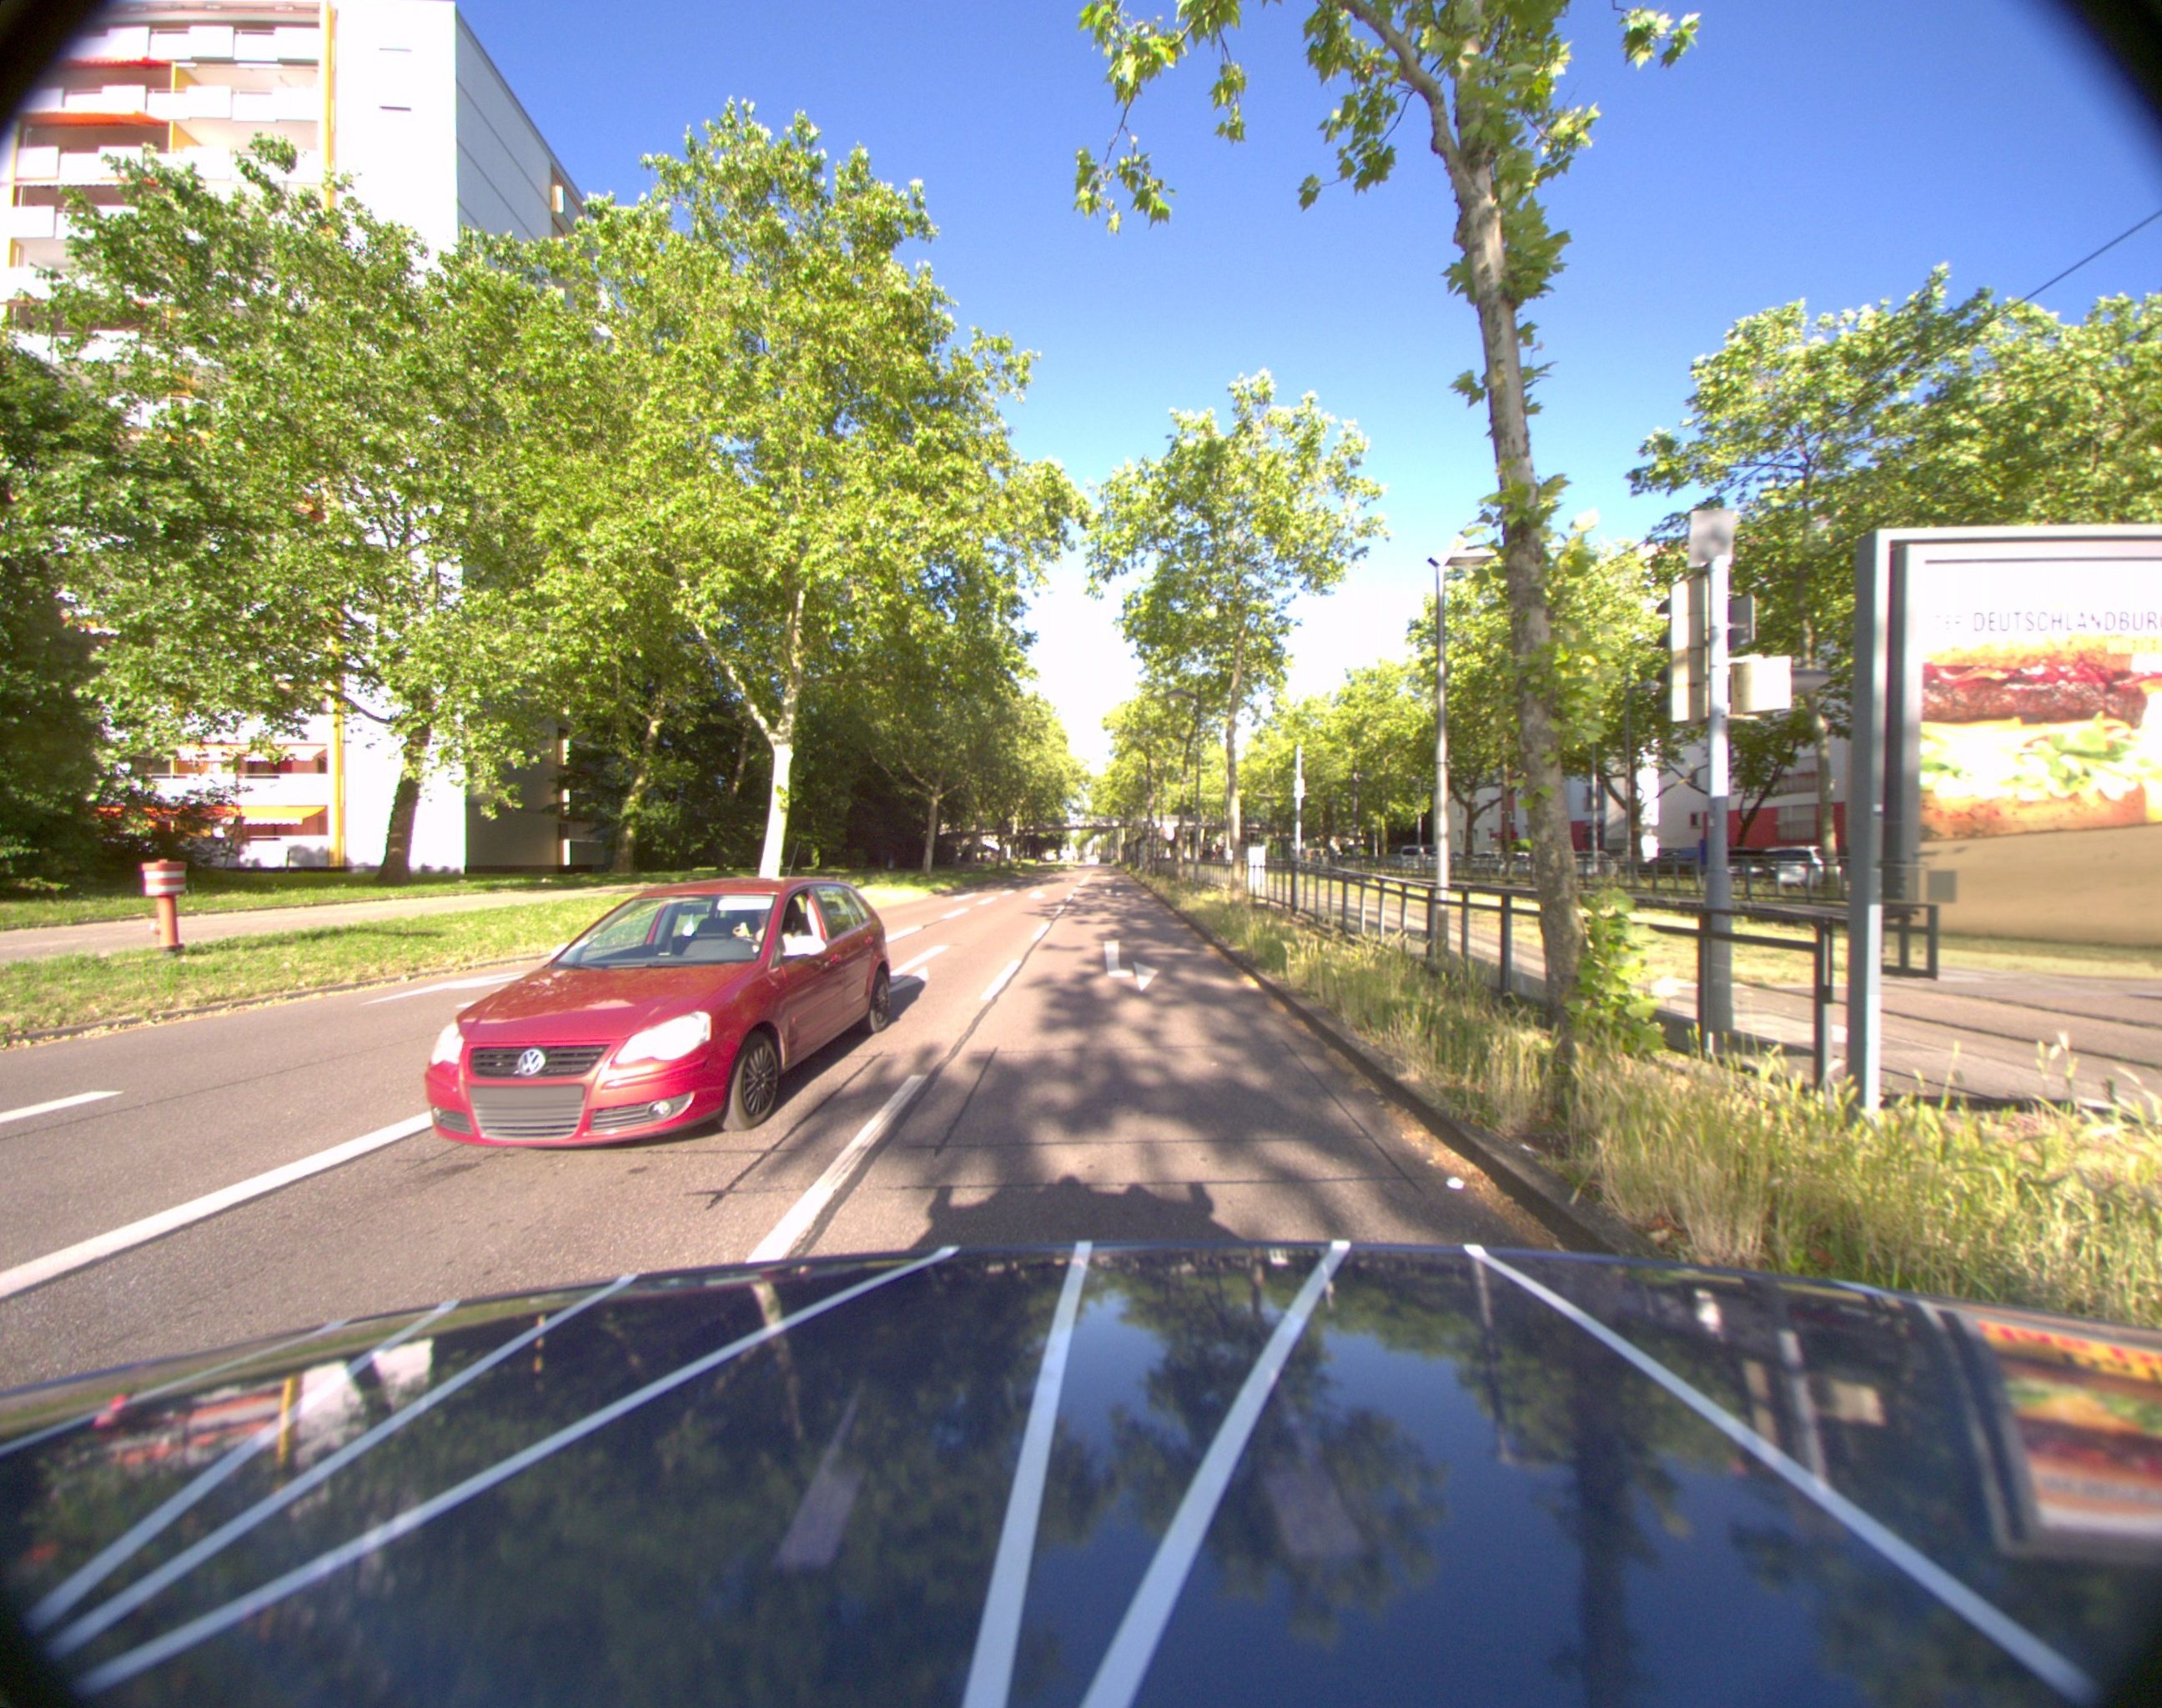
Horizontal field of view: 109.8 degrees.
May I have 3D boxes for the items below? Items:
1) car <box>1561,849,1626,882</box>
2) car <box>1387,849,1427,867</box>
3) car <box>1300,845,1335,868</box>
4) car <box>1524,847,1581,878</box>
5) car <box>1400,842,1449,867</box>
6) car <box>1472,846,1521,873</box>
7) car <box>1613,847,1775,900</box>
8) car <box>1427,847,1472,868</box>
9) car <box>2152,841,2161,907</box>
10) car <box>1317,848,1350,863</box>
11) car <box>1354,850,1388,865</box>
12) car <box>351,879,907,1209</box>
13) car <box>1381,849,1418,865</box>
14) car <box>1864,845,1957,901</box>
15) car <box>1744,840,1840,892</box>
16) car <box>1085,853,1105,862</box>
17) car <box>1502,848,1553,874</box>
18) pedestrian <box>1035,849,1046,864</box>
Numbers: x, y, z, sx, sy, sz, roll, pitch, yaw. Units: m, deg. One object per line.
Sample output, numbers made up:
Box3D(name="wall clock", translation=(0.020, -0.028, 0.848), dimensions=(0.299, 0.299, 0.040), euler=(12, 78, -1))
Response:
Box3D(name="car", translation=(25.582, 0.561, 37.902), dimensions=(3.890, 1.406, 1.486), euler=(-3, 1, -37))
Box3D(name="car", translation=(25.882, 0.275, 60.276), dimensions=(3.494, 1.336, 1.476), euler=(-1, 1, -41))
Box3D(name="car", translation=(20.702, 0.210, 66.795), dimensions=(1.795, 1.980, 4.653), euler=(-1, 0, 3))
Box3D(name="car", translation=(25.732, 0.474, 41.426), dimensions=(3.402, 1.499, 1.461), euler=(-3, 1, -37))
Box3D(name="car", translation=(25.765, 0.044, 56.942), dimensions=(4.056, 1.802, 1.864), euler=(-1, 1, -41))
Box3D(name="car", translation=(25.984, 0.334, 47.505), dimensions=(3.493, 1.417, 1.558), euler=(-3, -1, -42))
Box3D(name="car", translation=(18.965, 0.553, 23.776), dimensions=(1.769, 1.503, 4.102), euler=(-1, 0, 1))
Box3D(name="car", translation=(26.144, 0.259, 53.839), dimensions=(3.494, 1.395, 1.623), euler=(-1, 1, -41))
Box3D(name="car", translation=(24.694, 0.503, 16.140), dimensions=(4.007, 1.479, 1.689), euler=(-3, 1, -44))
Box3D(name="car", translation=(26.403, 0.152, 79.348), dimensions=(3.742, 1.517, 1.597), euler=(-1, 1, -43))
Box3D(name="car", translation=(26.608, 0.343, 69.658), dimensions=(3.494, 1.312, 1.476), euler=(-1, 1, -41))
Box3D(name="car", translation=(-2.671, 1.011, 5.620), dimensions=(1.645, 1.430, 3.761), euler=(-2, 1, 3))
Box3D(name="car", translation=(26.806, 0.262, 63.941), dimensions=(3.494, 1.293, 1.476), euler=(-1, 1, -41))
Box3D(name="car", translation=(25.220, 0.534, 23.072), dimensions=(3.770, 1.420, 1.555), euler=(-3, 1, -37))
Box3D(name="car", translation=(25.222, 0.401, 26.931), dimensions=(4.007, 1.586, 1.810), euler=(-3, 1, -37))
Box3D(name="car", translation=(2.402, 0.561, 131.051), dimensions=(1.794, 1.465, 4.006), euler=(-2, 1, 26))
Box3D(name="car", translation=(26.231, 0.425, 44.615), dimensions=(3.493, 1.321, 1.476), euler=(-3, 0, -41))
Box3D(name="pedestrian", translation=(-5.623, 0.350, 105.192), dimensions=(0.917, 2.002, 0.964), euler=(-2, 2, 42))
